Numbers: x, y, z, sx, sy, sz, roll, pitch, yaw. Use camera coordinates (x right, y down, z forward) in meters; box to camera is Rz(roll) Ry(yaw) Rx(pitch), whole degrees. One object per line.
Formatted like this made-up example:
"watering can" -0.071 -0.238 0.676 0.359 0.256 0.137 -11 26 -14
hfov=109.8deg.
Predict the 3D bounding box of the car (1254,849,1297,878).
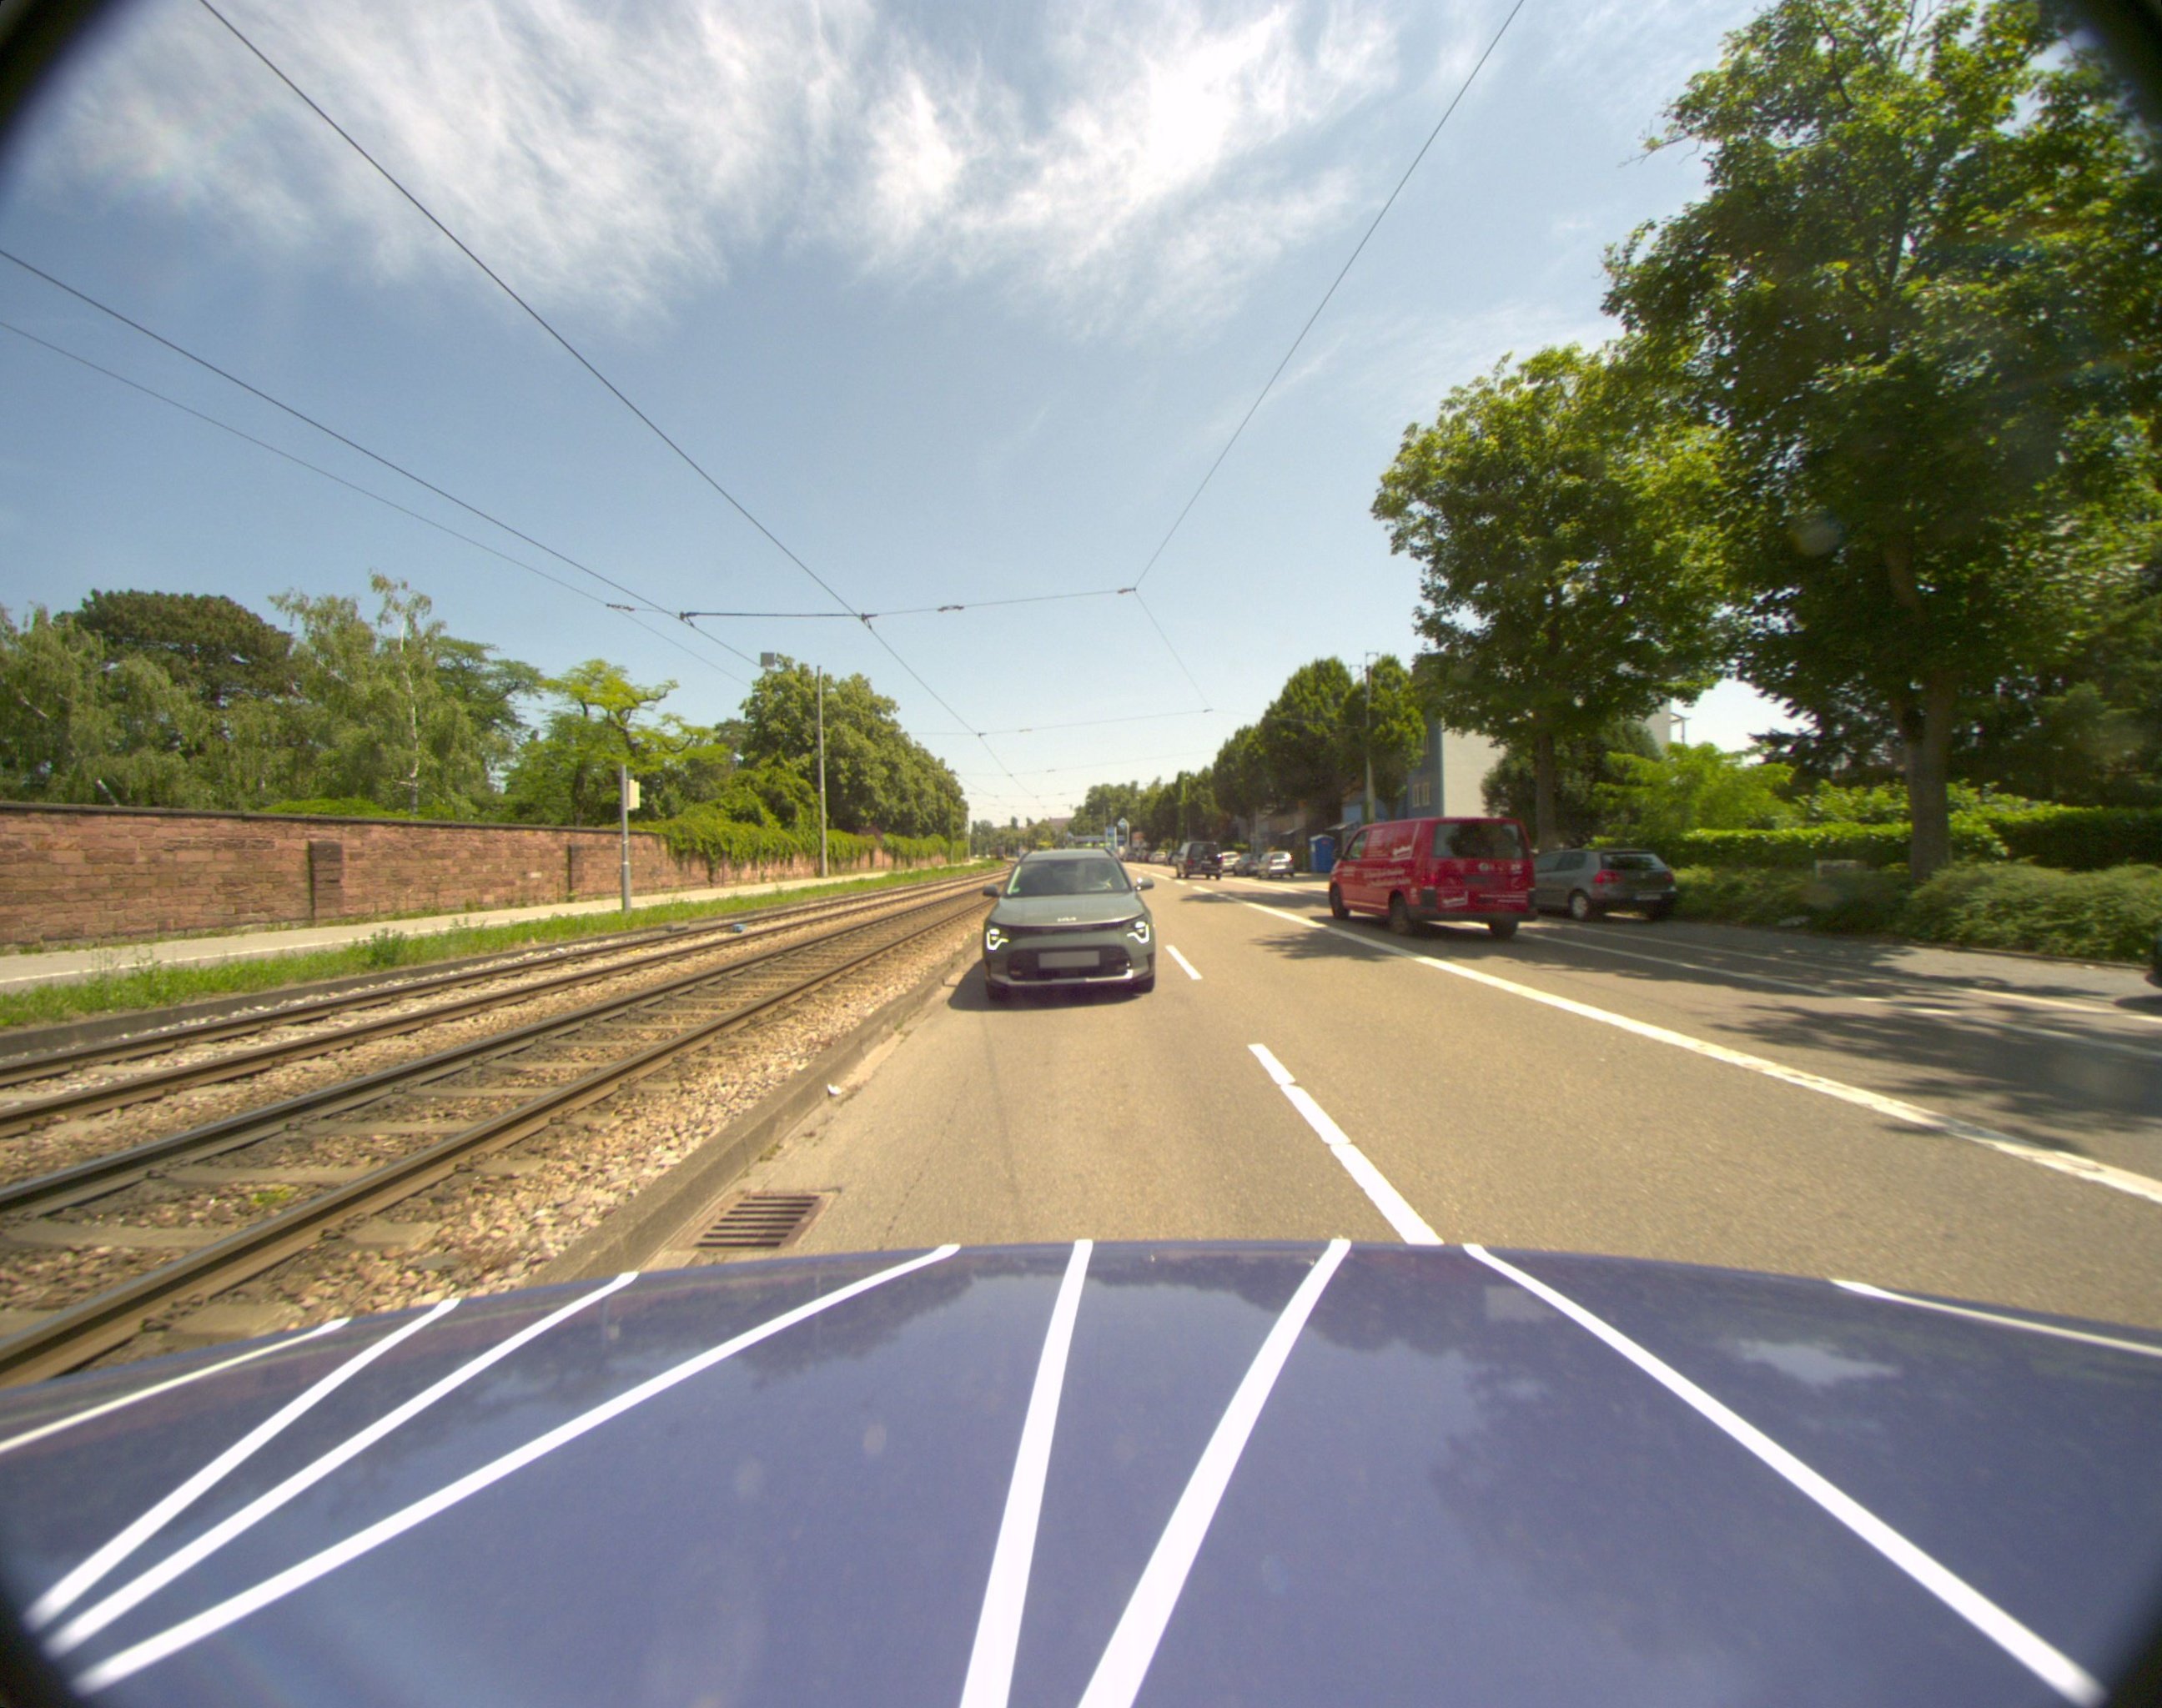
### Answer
"car" 11.137 0.519 43.741 1.505 1.487 3.281 -5 1 -1

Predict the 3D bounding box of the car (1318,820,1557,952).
"car" 5.986 0.453 13.570 1.904 1.915 4.818 1 0 -1

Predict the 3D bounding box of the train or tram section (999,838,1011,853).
"train or tram section" -20.703 -2.278 207.788 2.814 3.785 14.252 -2 1 -5

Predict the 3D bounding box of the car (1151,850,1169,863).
"car" 10.137 0.329 98.045 1.723 1.487 4.081 -4 1 -1

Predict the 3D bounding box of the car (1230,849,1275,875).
"car" 11.009 0.460 49.048 1.680 1.487 4.638 -4 1 -1

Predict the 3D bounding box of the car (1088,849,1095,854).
"car" 2.809 -0.647 202.592 1.865 1.487 3.469 -1 1 -2

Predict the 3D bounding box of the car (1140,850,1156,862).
"car" 9.540 0.247 108.780 1.865 1.487 3.470 -4 1 -1

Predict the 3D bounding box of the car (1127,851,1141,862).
"car" 8.164 0.376 117.570 1.865 1.487 3.470 -4 1 -1

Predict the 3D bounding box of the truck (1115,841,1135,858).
"truck" 7.197 -0.646 123.751 2.135 2.565 4.860 -5 1 -8

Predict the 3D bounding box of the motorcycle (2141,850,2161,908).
"motorcycle" 15.736 0.354 10.401 0.527 0.821 1.371 -3 0 2

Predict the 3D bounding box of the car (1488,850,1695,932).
"car" 10.769 0.688 16.441 1.680 1.478 4.127 -2 1 0

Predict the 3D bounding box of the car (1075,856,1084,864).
"car" -0.413 1.323 171.899 1.865 1.487 3.470 -4 1 -1

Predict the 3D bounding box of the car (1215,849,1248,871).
"car" 11.586 0.450 58.807 1.656 1.487 3.649 -4 1 -1

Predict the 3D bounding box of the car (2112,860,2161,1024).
"car" 10.661 0.777 4.729 1.899 1.448 4.808 -2 0 -2

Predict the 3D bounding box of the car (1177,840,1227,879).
"car" 6.300 0.262 40.136 1.923 1.899 4.570 0 0 0

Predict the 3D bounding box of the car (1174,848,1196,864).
"car" 11.025 0.201 80.669 1.656 1.487 4.081 -4 1 -1

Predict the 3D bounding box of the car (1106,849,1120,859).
"car" 5.694 0.016 135.507 1.866 1.487 3.468 -5 1 -8

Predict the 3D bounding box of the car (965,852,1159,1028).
"car" -0.170 0.809 9.409 1.759 1.574 4.426 -3 1 0

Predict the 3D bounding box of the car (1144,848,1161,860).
"car" 9.728 0.025 103.746 1.865 1.487 3.470 -4 1 -1
